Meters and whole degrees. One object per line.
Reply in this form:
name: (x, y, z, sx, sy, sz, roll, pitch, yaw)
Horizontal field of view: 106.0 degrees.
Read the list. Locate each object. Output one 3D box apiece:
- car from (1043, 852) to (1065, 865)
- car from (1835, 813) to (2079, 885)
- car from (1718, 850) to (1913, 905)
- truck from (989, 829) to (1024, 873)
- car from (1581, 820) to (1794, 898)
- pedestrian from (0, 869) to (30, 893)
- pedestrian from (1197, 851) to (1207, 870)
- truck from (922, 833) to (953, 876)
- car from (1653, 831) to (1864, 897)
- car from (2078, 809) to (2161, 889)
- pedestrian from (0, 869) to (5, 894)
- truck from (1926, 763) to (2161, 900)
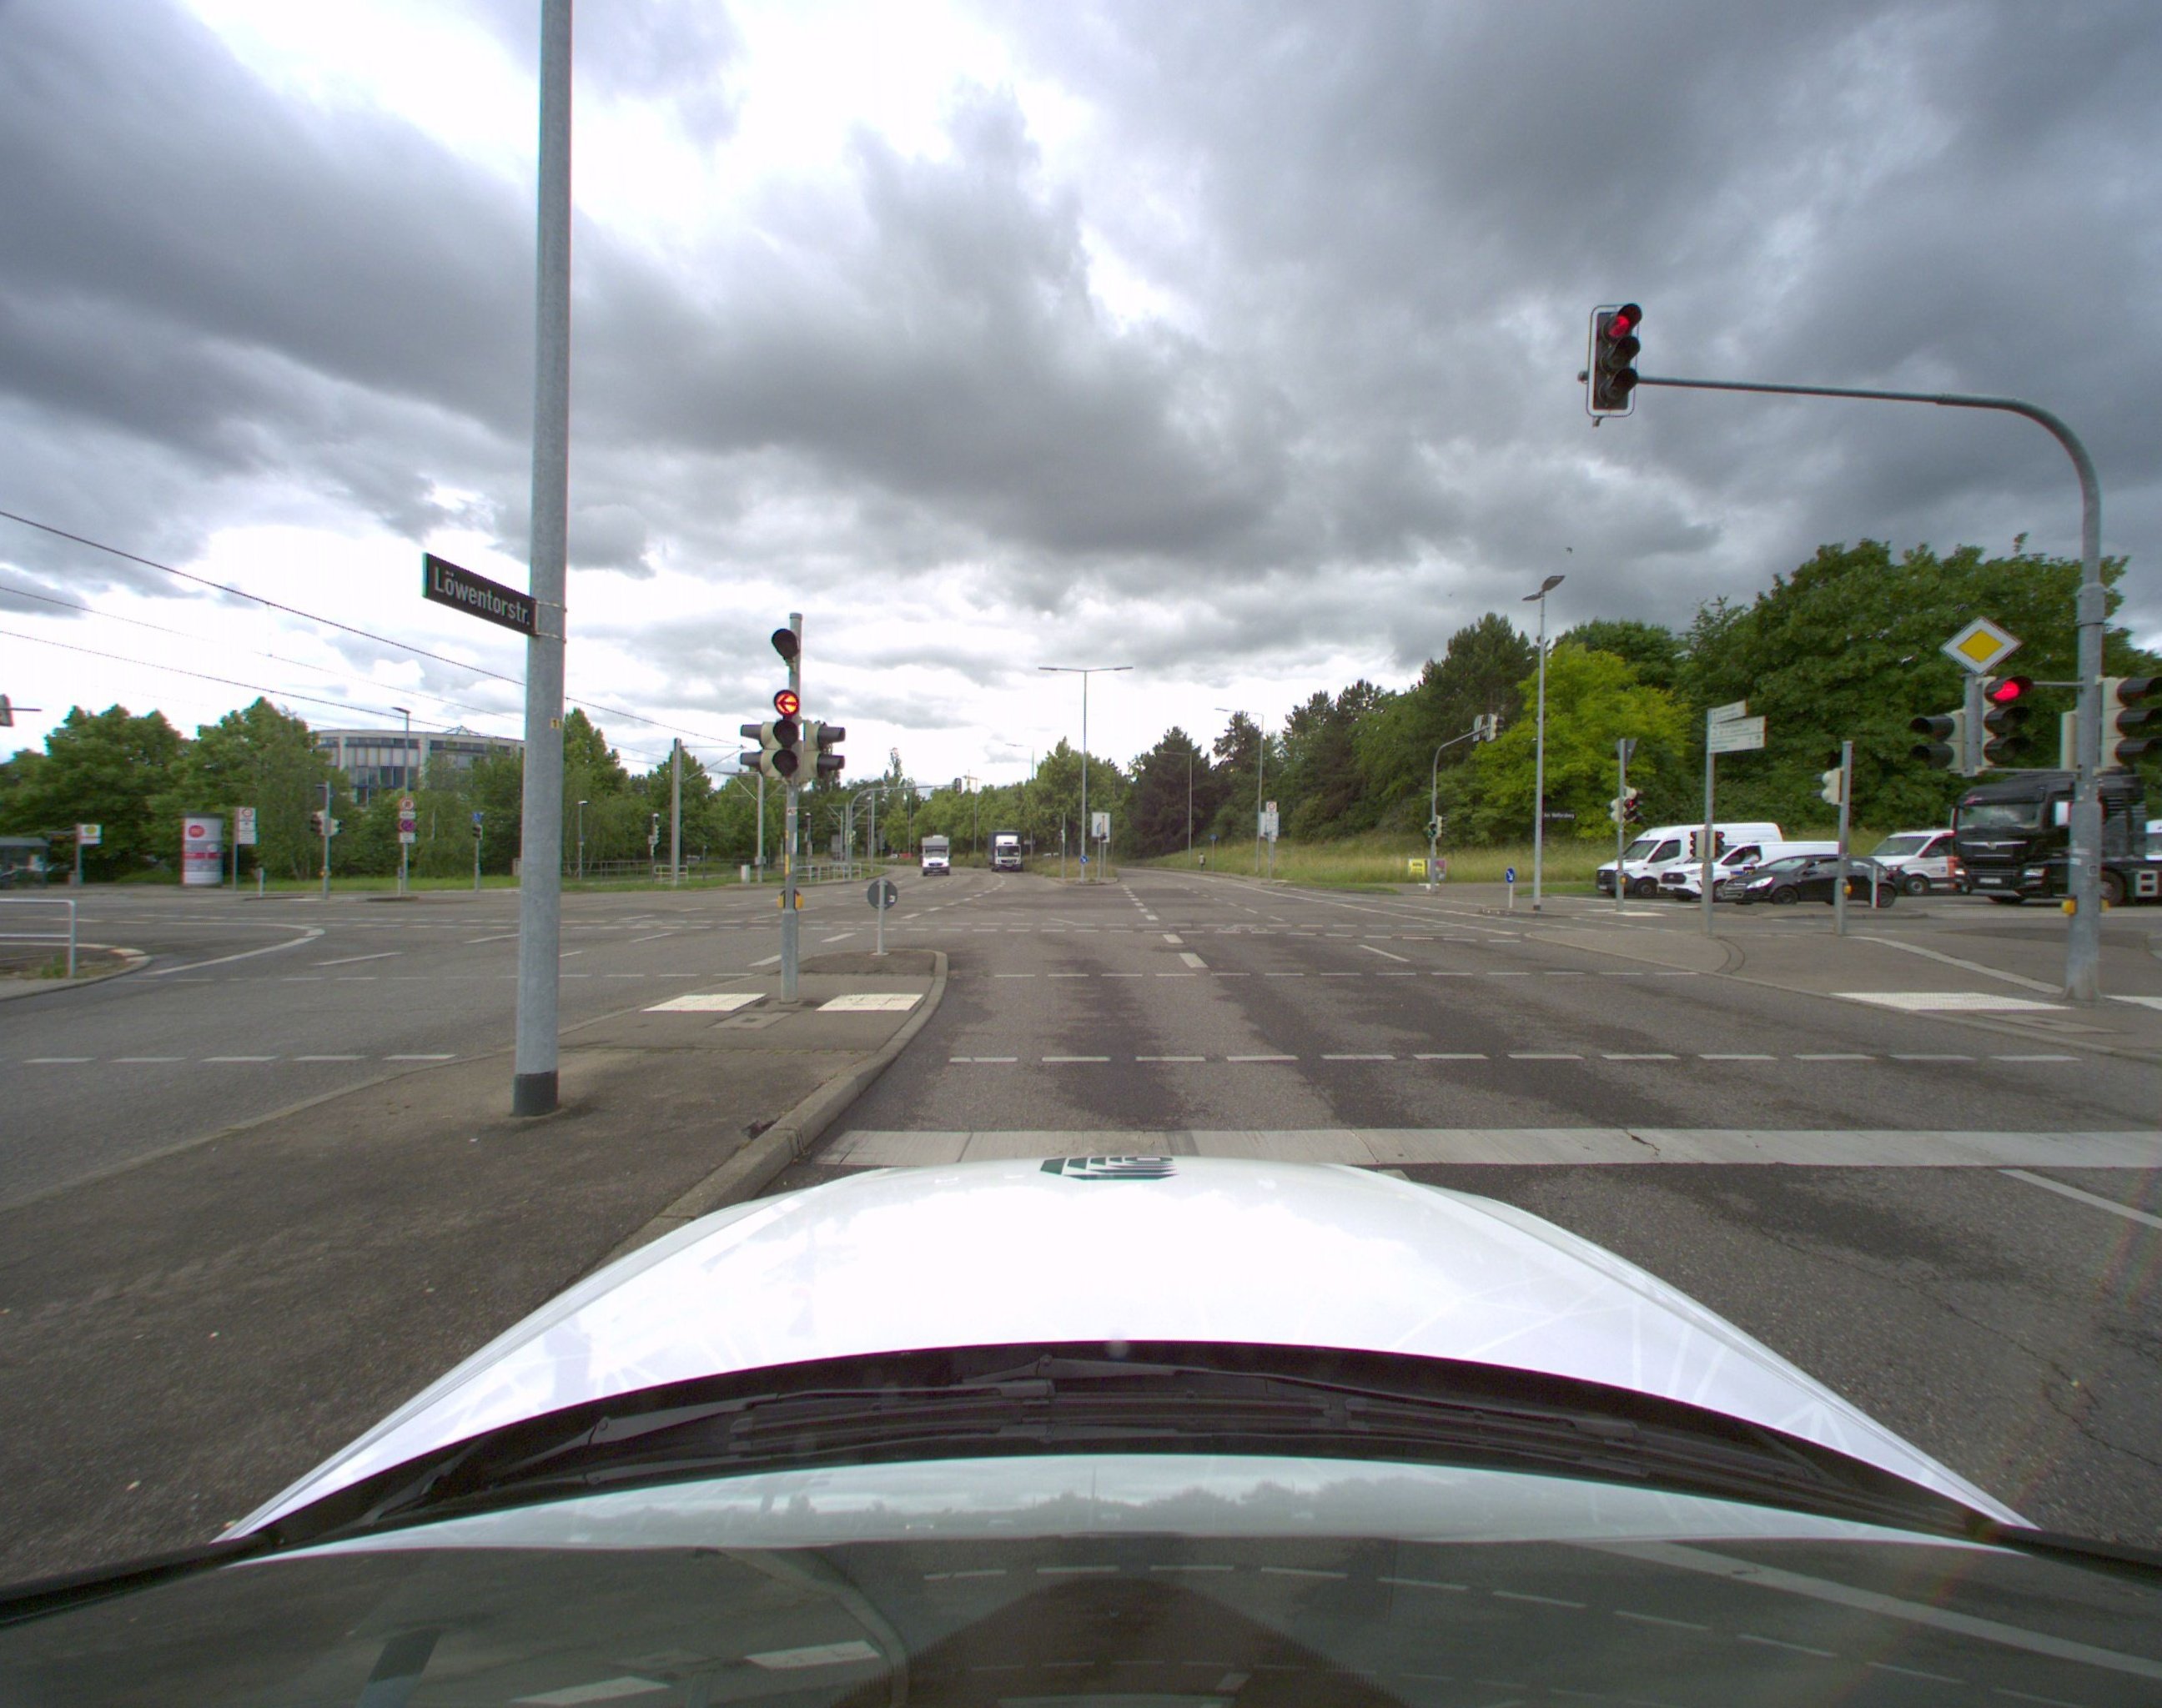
car: (-3.721, 0.573, 110.505, 2.000, 1.728, 3.703, 0, 0, -19)
car: (30.784, -0.132, 28.801, 5.913, 2.386, 2.231, -1, -1, 4)
car: (20.315, 0.646, 22.637, 3.836, 1.442, 1.638, -1, 0, 4)
truck: (-7.016, -0.270, 75.775, 2.777, 3.804, 8.365, 0, 0, -8)
car: (21.786, 0.205, 29.479, 5.915, 2.659, 2.230, -1, -1, 3)
pedestrian: (-56.253, 1.407, 42.928, 0.774, 1.252, 0.769, -1, 0, -27)
pedestrian: (10.572, 0.565, 71.248, 0.736, 1.717, 0.625, 0, 0, 1)
truck: (-11.087, 0.038, 63.115, 2.105, 3.010, 6.252, -4, 0, -10)
car: (21.685, 0.333, 26.261, 4.952, 1.991, 2.121, -1, -2, 2)
car: (39.790, -0.187, 28.513, 6.635, 2.720, 2.230, -1, -1, 3)
pedestrian: (-57.763, 1.455, 43.146, 0.582, 1.316, 0.734, -1, 0, 17)
truck: (27.983, -0.574, 22.481, 5.915, 3.518, 3.077, -1, -1, 3)
